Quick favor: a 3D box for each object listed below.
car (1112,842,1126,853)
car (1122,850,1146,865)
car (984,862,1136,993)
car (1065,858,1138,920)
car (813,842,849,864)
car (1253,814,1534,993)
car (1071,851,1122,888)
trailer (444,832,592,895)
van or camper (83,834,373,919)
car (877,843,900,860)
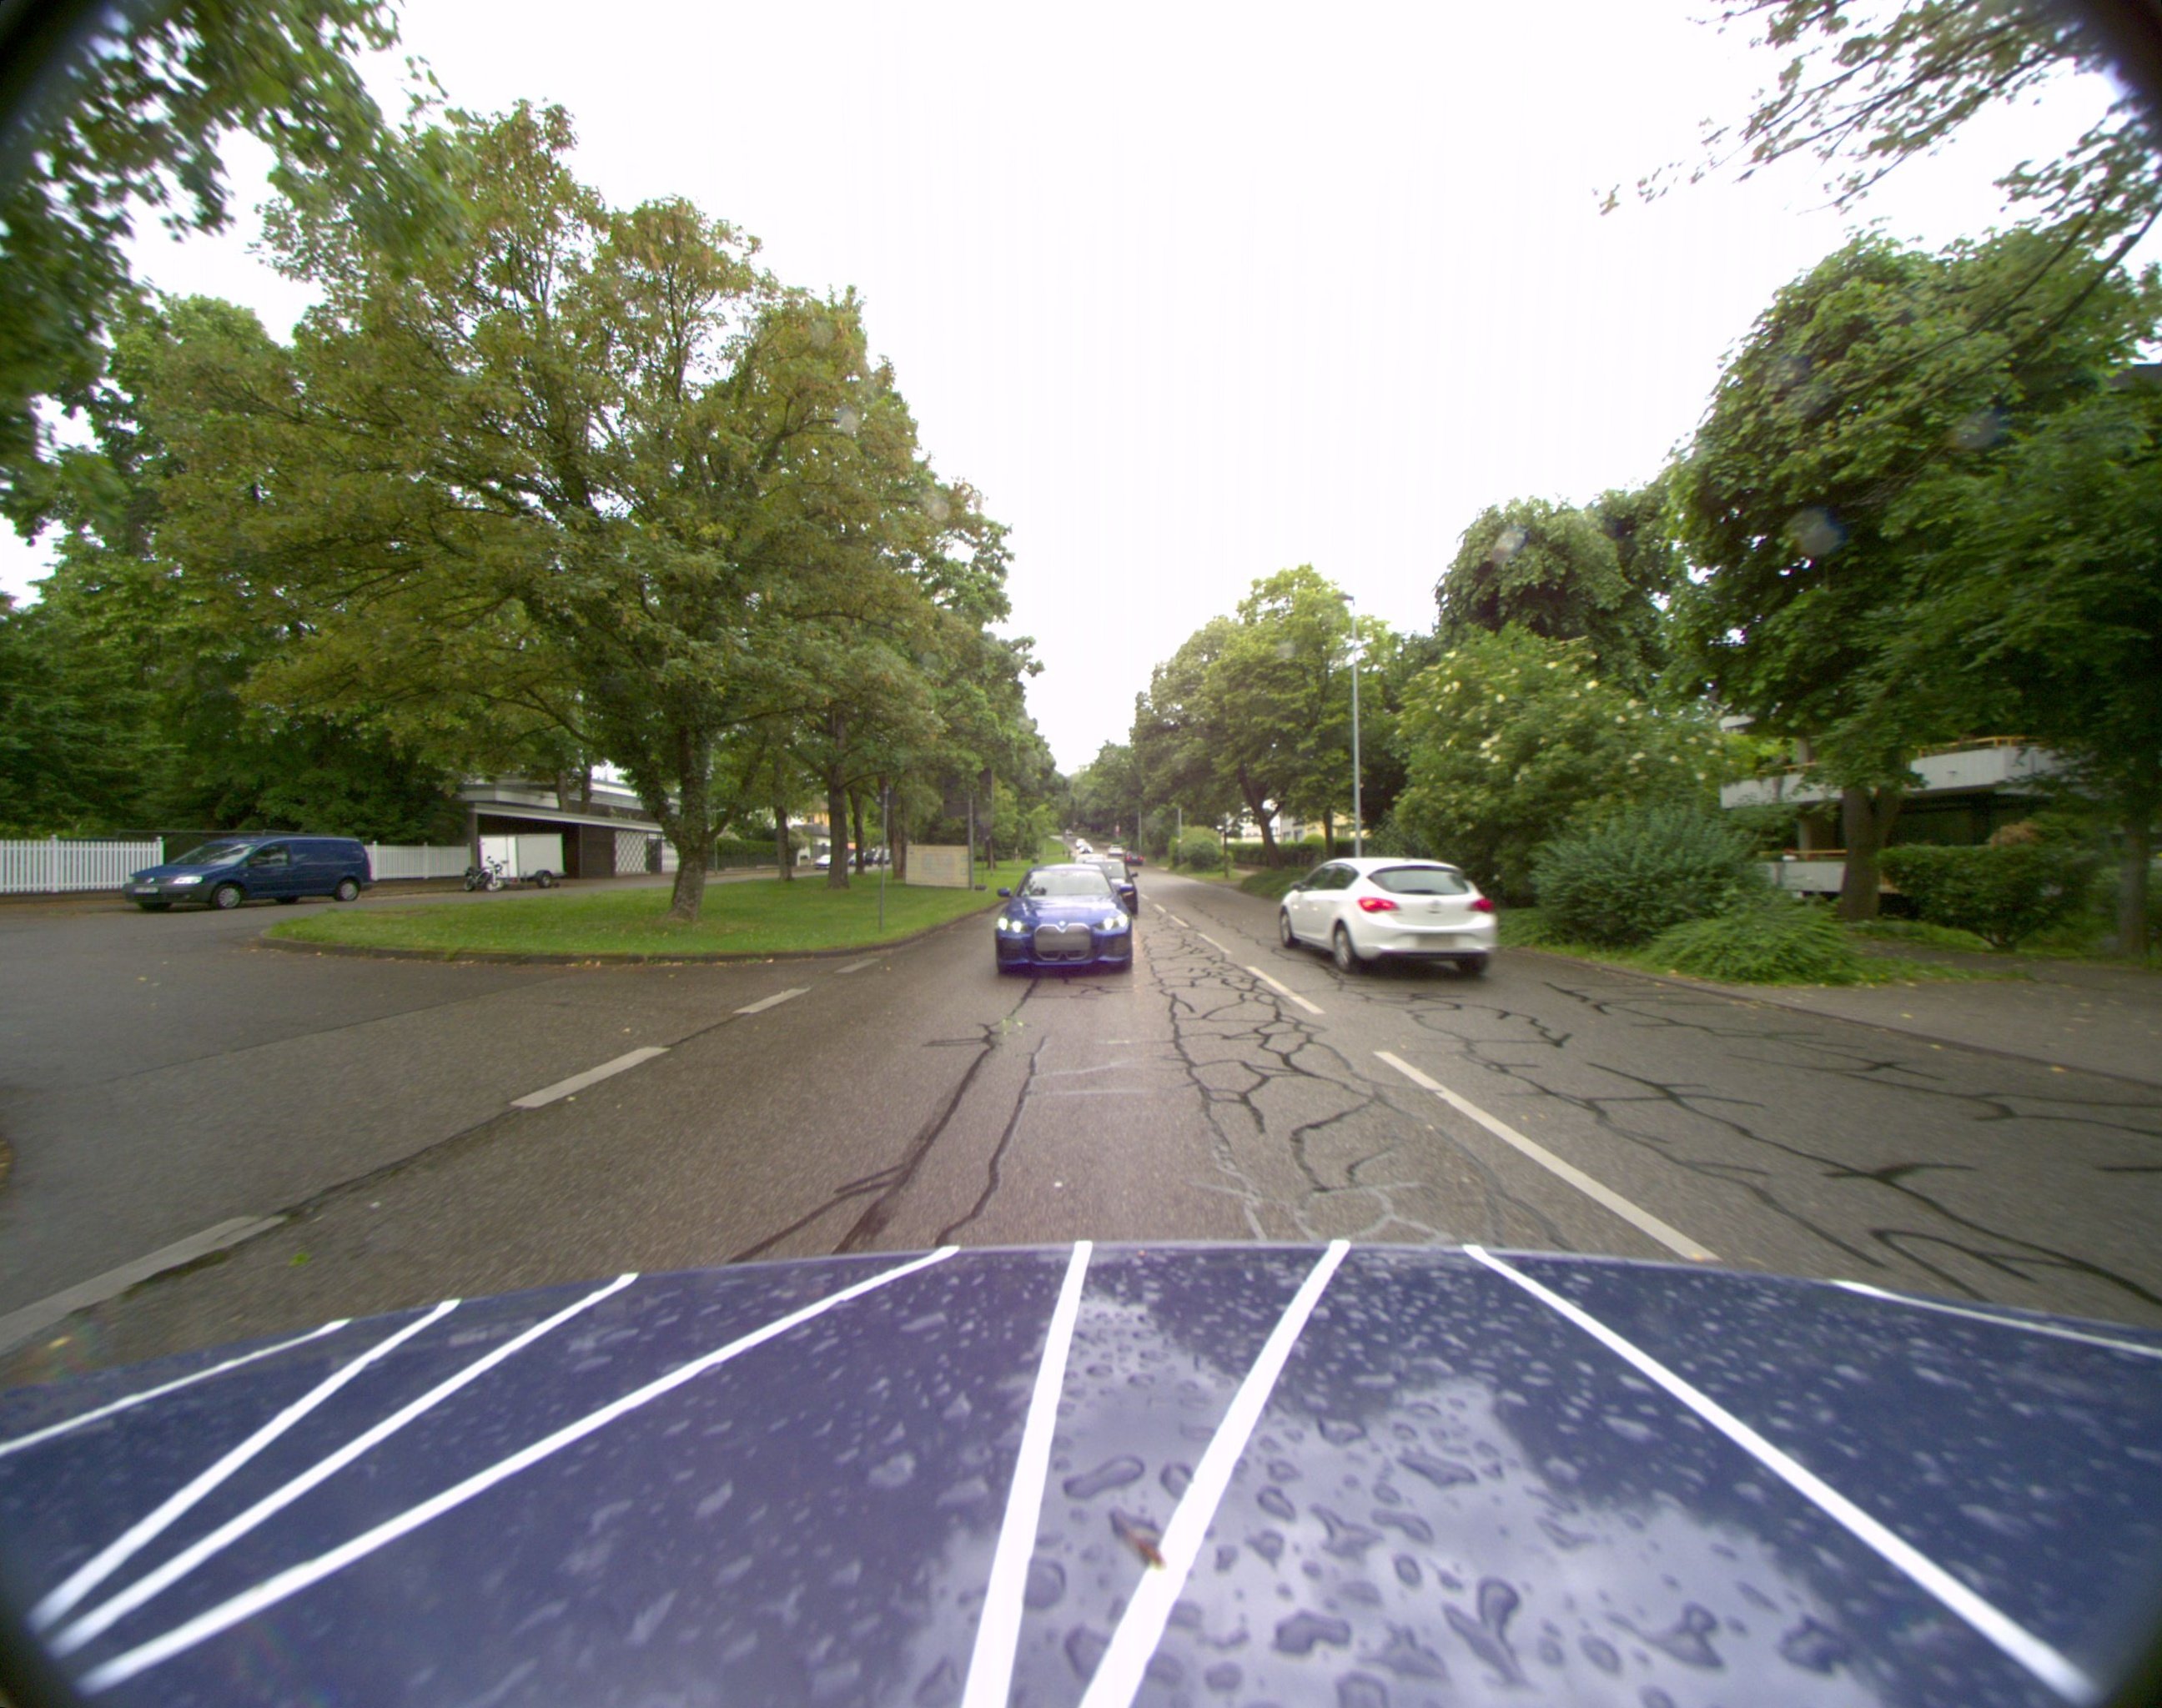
[{"bbox_3d":[4.989,-0.893,100.087,1.825,1.471,4.067,0,1,1],"label":"car"},{"bbox_3d":[4.974,0.285,71.616,1.769,1.341,4.376,1,1,-2],"label":"car"},{"bbox_3d":[-0.251,0.937,11.486,1.826,1.471,4.067,-2,1,0],"label":"car"},{"bbox_3d":[0.537,0.916,21.578,1.826,1.471,4.067,-2,1,0],"label":"car"},{"bbox_3d":[-23.292,-0.097,70.831,1.998,2.002,4.000,0,0,0],"label":"car"},{"bbox_3d":[4.034,0.558,10.813,1.999,2.002,4.573,0,0,-2],"label":"car"},{"bbox_3d":[0.645,0.642,34.210,2.032,1.471,4.066,-2,1,-2],"label":"car"},{"bbox_3d":[-21.164,0.307,28.918,1.771,2.104,5.191,-2,1,-2],"label":"trailer"},{"bbox_3d":[-21.015,0.476,19.139,1.999,1.798,4.773,-2,1,-4],"label":"van or camper"},{"bbox_3d":[-24.034,-0.234,95.042,1.999,2.001,4.000,0,-2,-1],"label":"car"}]
